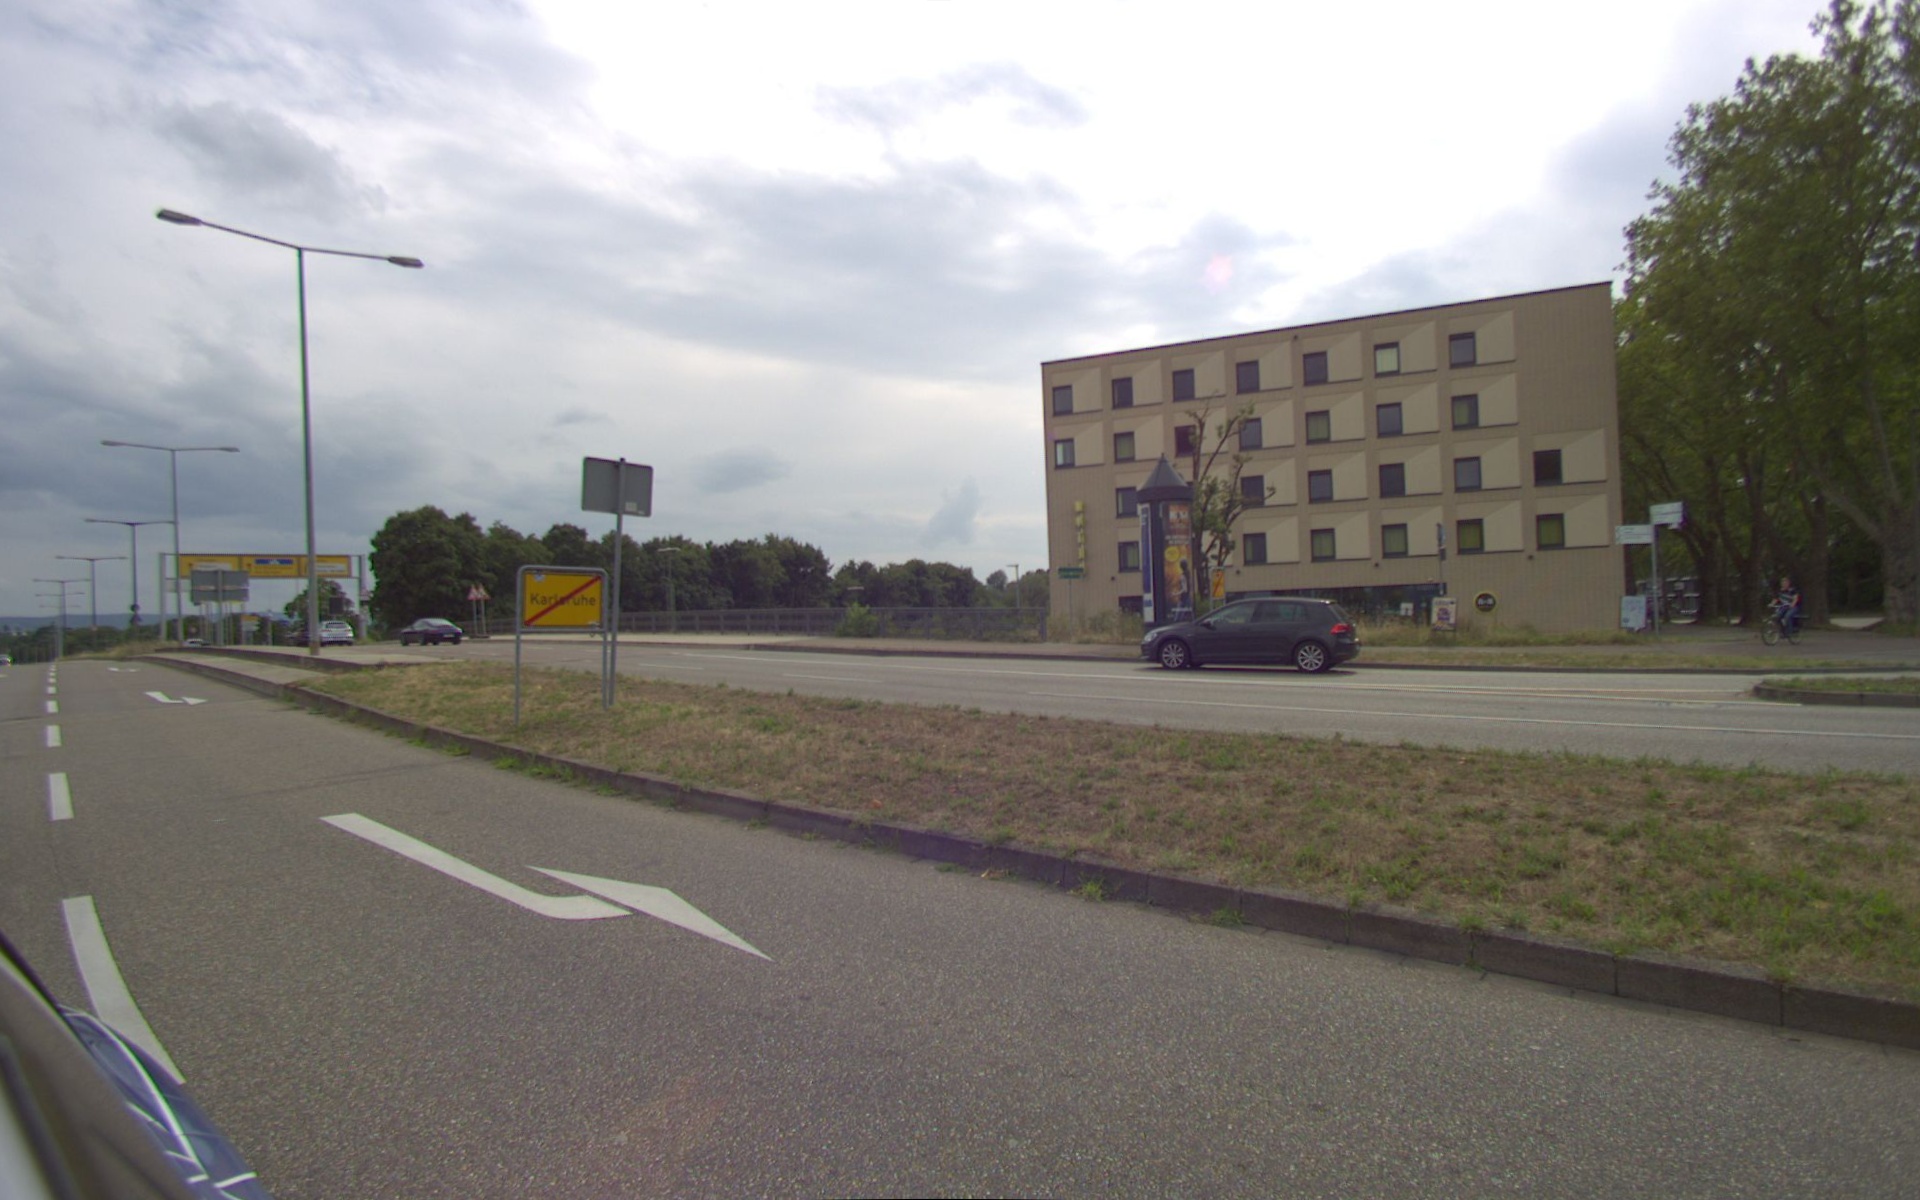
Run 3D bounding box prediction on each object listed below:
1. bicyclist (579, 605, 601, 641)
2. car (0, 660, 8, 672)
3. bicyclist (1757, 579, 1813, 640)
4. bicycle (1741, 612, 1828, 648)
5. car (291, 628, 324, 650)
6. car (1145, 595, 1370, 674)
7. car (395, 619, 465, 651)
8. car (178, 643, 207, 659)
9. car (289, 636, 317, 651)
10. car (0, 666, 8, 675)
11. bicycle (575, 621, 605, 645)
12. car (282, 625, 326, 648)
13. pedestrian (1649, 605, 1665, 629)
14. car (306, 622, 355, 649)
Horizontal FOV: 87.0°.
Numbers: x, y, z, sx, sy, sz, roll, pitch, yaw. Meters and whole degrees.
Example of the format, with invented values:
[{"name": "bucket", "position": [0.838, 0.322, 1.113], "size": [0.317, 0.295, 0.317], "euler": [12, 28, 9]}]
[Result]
[{"name": "bicyclist", "position": [-17.442, 1.076, 47.748], "size": [0.676, 1.684, 0.848], "euler": [-1, -1, -41]}, {"name": "car", "position": [-120.928, 8.326, 127.217], "size": [1.834, 1.353, 4.004], "euler": [-1, -1, -42]}, {"name": "bicyclist", "position": [22.367, 0.262, 27.433], "size": [0.905, 1.627, 0.744], "euler": [-1, -1, -16]}, {"name": "bicycle", "position": [22.344, 0.799, 27.423], "size": [2.083, 0.916, 0.744], "euler": [-1, -1, -16]}, {"name": "car", "position": [-50.752, 3.000, 78.646], "size": [1.719, 1.671, 4.087], "euler": [1, -1, -39]}, {"name": "car", "position": [5.871, 0.663, 20.049], "size": [3.982, 1.429, 1.781], "euler": [-1, -1, 29]}, {"name": "car", "position": [-26.061, 1.700, 49.693], "size": [1.800, 1.457, 4.355], "euler": [-1, 0, -45]}, {"name": "car", "position": [-74.687, 4.919, 98.458], "size": [1.788, 1.426, 4.032], "euler": [0, -1, -45]}, {"name": "car", "position": [-65.976, 4.325, 101.758], "size": [1.892, 1.426, 4.896], "euler": [0, -2, -27]}, {"name": "car", "position": [-151.884, 11.151, 160.106], "size": [1.834, 1.353, 4.004], "euler": [-1, -1, -43]}, {"name": "bicycle", "position": [-17.470, 1.554, 47.771], "size": [0.676, 1.061, 1.997], "euler": [-1, 0, -41]}, {"name": "car", "position": [-43.524, 2.411, 67.136], "size": [1.721, 1.421, 3.879], "euler": [1, -2, -44]}, {"name": "pedestrian", "position": [33.316, 0.812, 48.377], "size": [0.499, 1.133, 0.460], "euler": [-2, -1, 22]}, {"name": "car", "position": [-35.731, 1.988, 57.415], "size": [1.597, 1.421, 3.864], "euler": [1, -1, -43]}]
